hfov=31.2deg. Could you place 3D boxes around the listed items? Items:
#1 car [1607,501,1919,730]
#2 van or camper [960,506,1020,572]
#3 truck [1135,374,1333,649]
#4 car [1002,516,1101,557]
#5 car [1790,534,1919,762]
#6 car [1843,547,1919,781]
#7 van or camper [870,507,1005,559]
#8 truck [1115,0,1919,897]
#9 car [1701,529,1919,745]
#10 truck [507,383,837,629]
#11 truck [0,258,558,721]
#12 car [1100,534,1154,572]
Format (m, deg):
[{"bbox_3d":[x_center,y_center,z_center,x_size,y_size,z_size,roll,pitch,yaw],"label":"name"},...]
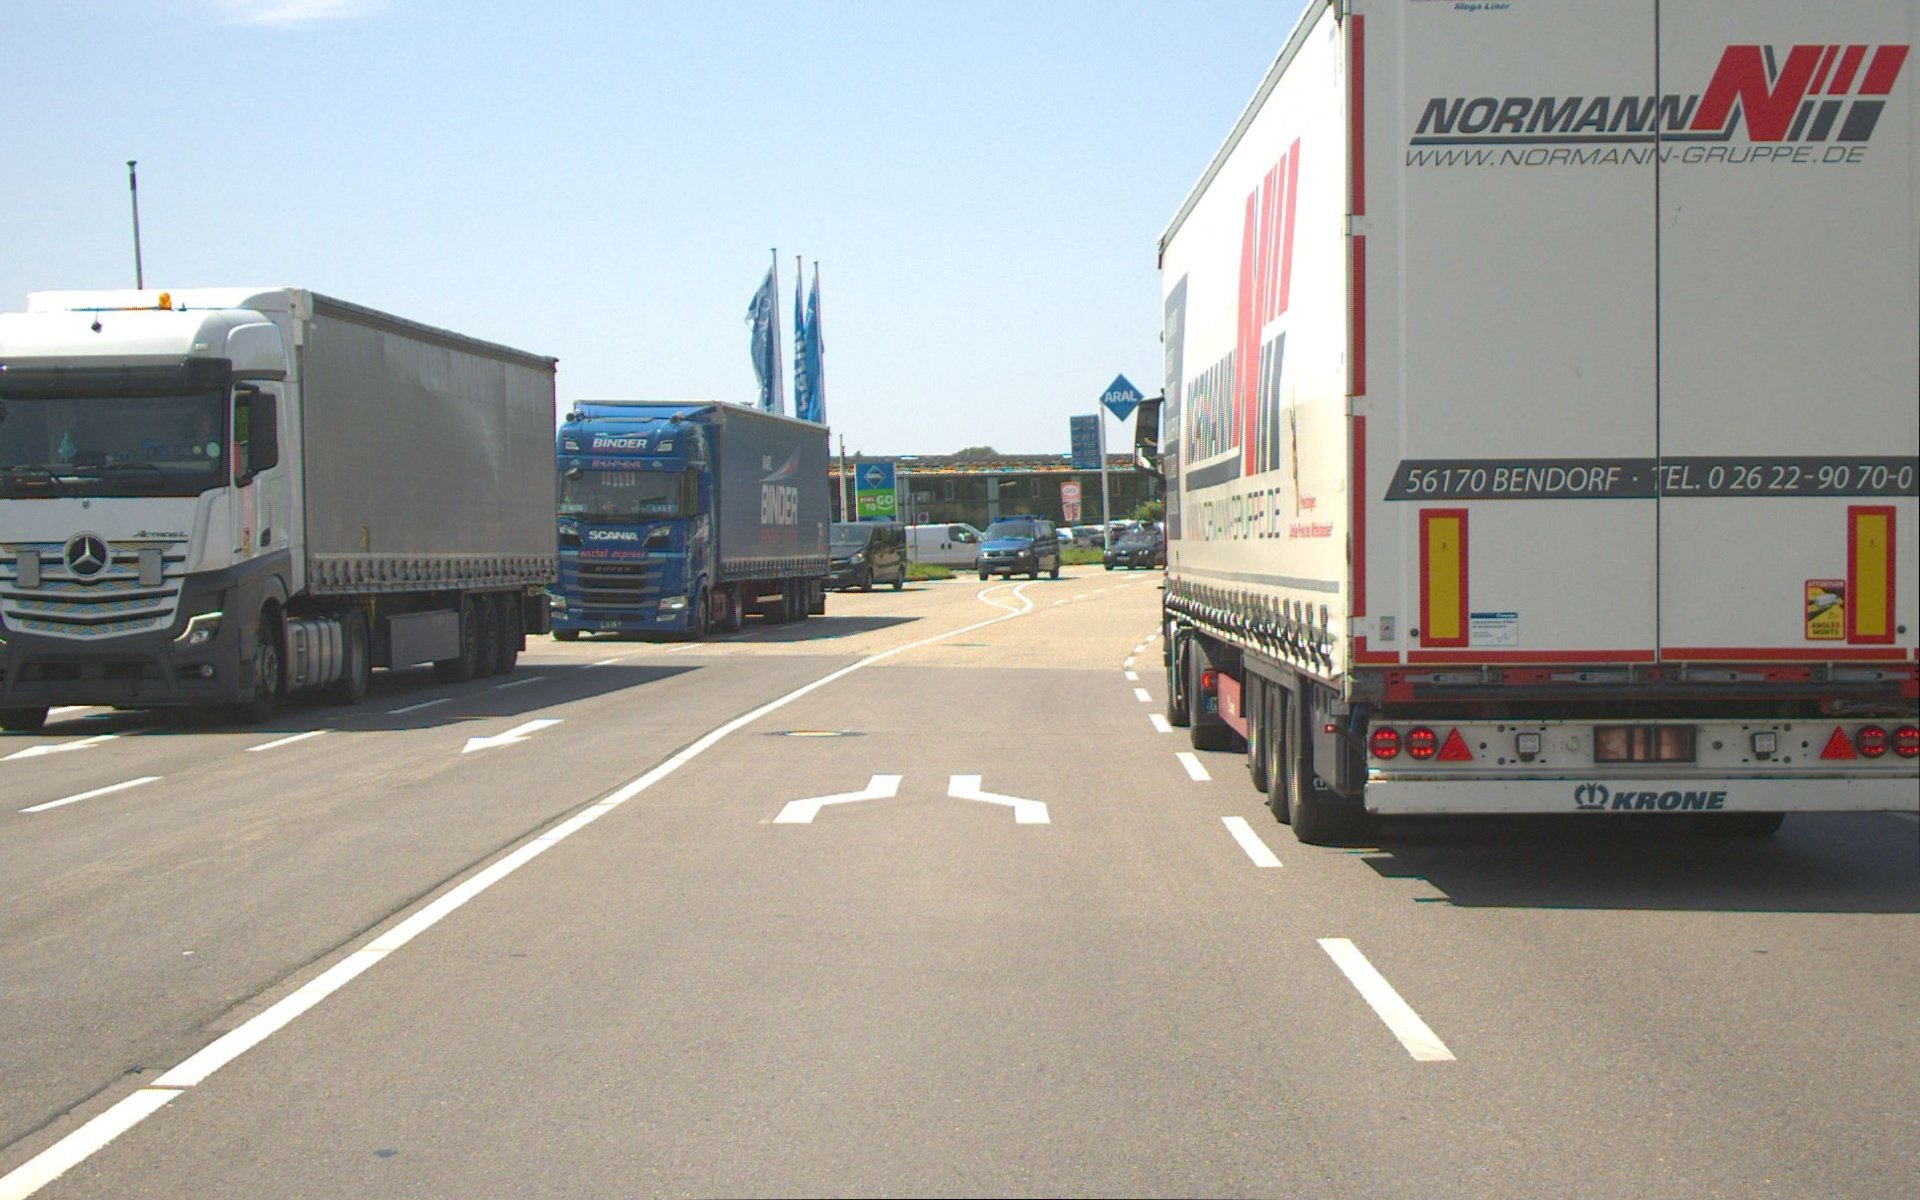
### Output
[{"bbox_3d":[7.794,0.039,28.841,4.009,1.668,2.202,-5,1,-10],"label":"car"},{"bbox_3d":[1.004,-2.011,112.748,1.837,2.130,5.343,0,1,2],"label":"van or camper"},{"bbox_3d":[4.283,-1.385,55.525,2.648,3.793,13.358,-2,1,3],"label":"truck"},{"bbox_3d":[4.044,-2.808,152.145,3.995,1.744,1.931,0,1,35],"label":"car"},{"bbox_3d":[8.181,0.174,24.207,4.010,1.476,1.979,-5,1,-5],"label":"car"},{"bbox_3d":[7.983,0.233,21.521,4.264,1.408,2.163,-5,1,0],"label":"car"},{"bbox_3d":[-0.854,-2.531,129.850,4.849,1.898,1.904,0,0,9],"label":"van or camper"},{"bbox_3d":[2.860,-0.976,22.684,2.973,4.079,17.635,0,1,0],"label":"truck"},{"bbox_3d":[7.999,0.156,26.371,4.010,1.476,1.979,-5,1,-5],"label":"car"},{"bbox_3d":[-4.875,-1.571,63.018,2.845,3.876,17.002,0,1,6],"label":"truck"},{"bbox_3d":[-7.037,-0.999,37.105,2.790,3.876,16.482,0,1,2],"label":"truck"},{"bbox_3d":[6.039,-1.710,124.706,1.848,1.267,4.176,-3,1,2],"label":"car"}]
